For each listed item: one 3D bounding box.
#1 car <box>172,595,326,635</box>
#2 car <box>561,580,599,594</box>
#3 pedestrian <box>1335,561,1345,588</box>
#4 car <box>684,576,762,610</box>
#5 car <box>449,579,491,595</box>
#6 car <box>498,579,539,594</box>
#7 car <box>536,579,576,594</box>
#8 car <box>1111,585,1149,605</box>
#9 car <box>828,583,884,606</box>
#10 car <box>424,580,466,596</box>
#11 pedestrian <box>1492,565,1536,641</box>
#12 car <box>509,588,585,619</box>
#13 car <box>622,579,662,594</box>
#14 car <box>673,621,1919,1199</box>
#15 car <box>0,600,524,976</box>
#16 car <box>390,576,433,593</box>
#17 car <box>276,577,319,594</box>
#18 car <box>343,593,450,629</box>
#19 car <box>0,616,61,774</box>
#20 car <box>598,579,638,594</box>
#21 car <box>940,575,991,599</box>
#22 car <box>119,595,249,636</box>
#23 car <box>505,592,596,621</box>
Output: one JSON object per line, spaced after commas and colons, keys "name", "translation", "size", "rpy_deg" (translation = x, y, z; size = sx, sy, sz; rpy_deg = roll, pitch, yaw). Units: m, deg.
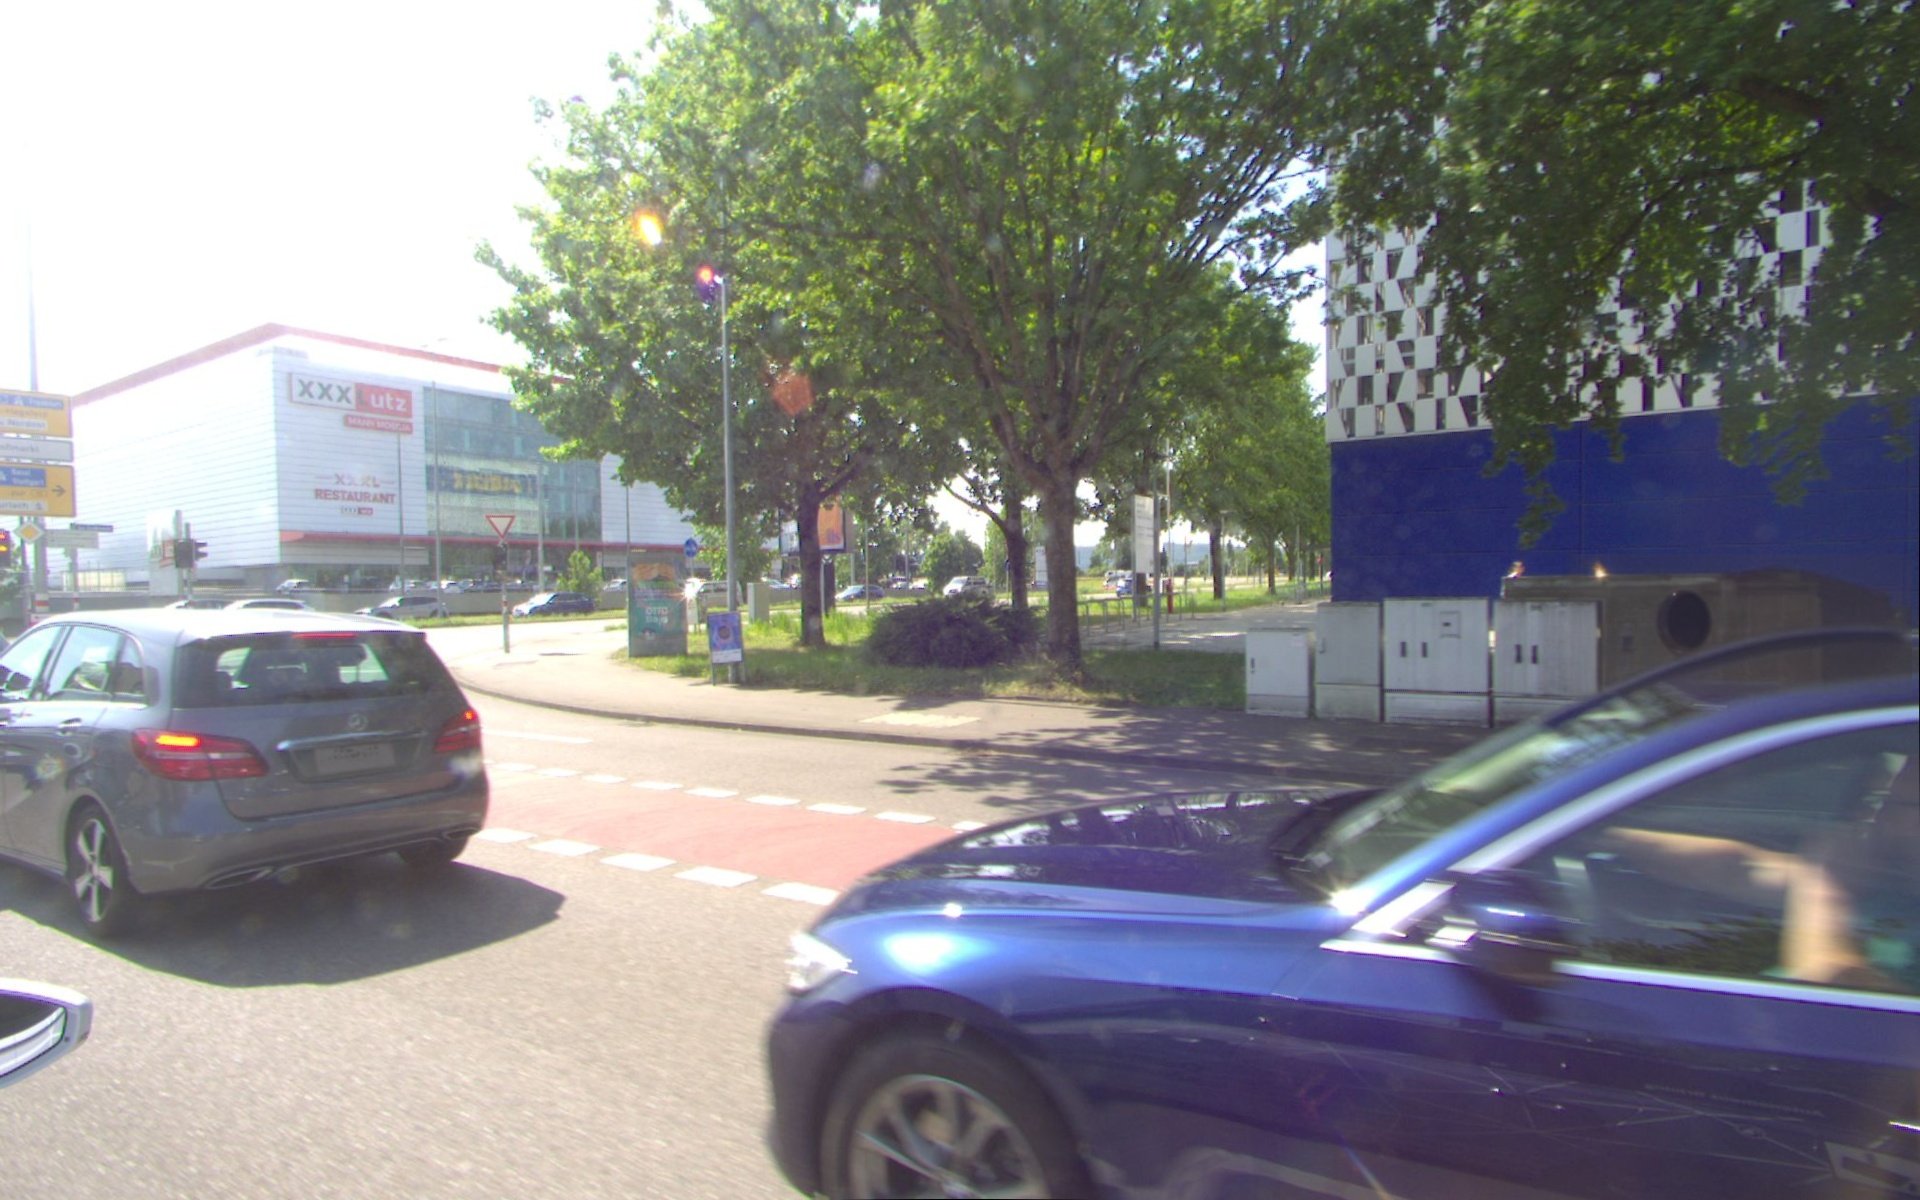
{"name": "car", "translation": [-28.694, 0.580, 40.551], "size": [1.933, 1.444, 4.701], "rpy_deg": [-2, 0, 35]}
{"name": "car", "translation": [-40.319, -1.400, 106.251], "size": [4.143, 1.439, 1.730], "rpy_deg": [0, 1, 35]}
{"name": "pedestrian", "translation": [28.888, -1.927, 76.052], "size": [0.670, 2.039, 0.600], "rpy_deg": [-1, -1, 18]}
{"name": "car", "translation": [-15.102, -0.488, 63.926], "size": [1.937, 2.002, 4.658], "rpy_deg": [-2, 0, 36]}
{"name": "car", "translation": [-47.317, -1.232, 96.671], "size": [4.143, 1.439, 1.866], "rpy_deg": [0, 1, 35]}
{"name": "car", "translation": [-44.335, -1.348, 100.586], "size": [4.143, 1.439, 1.894], "rpy_deg": [0, 1, 35]}
{"name": "car", "translation": [-42.143, -1.389, 104.422], "size": [4.143, 1.439, 1.799], "rpy_deg": [0, 1, 35]}
{"name": "car", "translation": [13.881, -0.432, 81.597], "size": [1.618, 1.556, 3.893], "rpy_deg": [0, 1, 34]}
{"name": "car", "translation": [-7.531, -0.420, 72.878], "size": [1.662, 1.642, 4.101], "rpy_deg": [0, 1, 37]}
{"name": "car", "translation": [-48.339, -1.130, 93.999], "size": [4.143, 1.439, 1.826], "rpy_deg": [0, 1, 35]}
{"name": "pedestrian", "translation": [11.637, 0.063, 21.029], "size": [0.769, 1.567, 0.677], "rpy_deg": [0, 2, 32]}
{"name": "car", "translation": [-22.215, 0.164, 53.922], "size": [1.578, 1.597, 3.457], "rpy_deg": [0, 1, 36]}
{"name": "car", "translation": [-32.067, -1.391, 100.921], "size": [3.955, 1.439, 1.734], "rpy_deg": [0, 1, 35]}
{"name": "car", "translation": [1.696, 0.781, 1.919], "size": [4.472, 1.448, 1.792], "rpy_deg": [0, 0, 32]}
{"name": "car", "translation": [-4.666, 0.785, 6.000], "size": [4.077, 1.559, 1.770], "rpy_deg": [0, 0, 32]}
{"name": "car", "translation": [-50.424, -1.431, 92.089], "size": [3.950, 1.439, 1.795], "rpy_deg": [0, 1, 32]}
{"name": "car", "translation": [-58.721, -1.245, 88.764], "size": [4.143, 1.439, 1.765], "rpy_deg": [0, 1, 35]}
{"name": "car", "translation": [-26.844, 0.502, 47.818], "size": [1.883, 1.529, 4.015], "rpy_deg": [-1, 1, 35]}
{"name": "car", "translation": [-10.495, 0.877, 9.716], "size": [3.628, 1.433, 1.664], "rpy_deg": [0, 0, 31]}
{"name": "car", "translation": [-33.814, -1.321, 99.065], "size": [4.054, 1.439, 1.679], "rpy_deg": [0, 1, 35]}
{"name": "car", "translation": [0.472, -1.125, 85.941], "size": [1.890, 1.961, 4.756], "rpy_deg": [-2, 0, 37]}
{"name": "car", "translation": [-31.845, 0.615, 41.199], "size": [1.785, 1.579, 3.871], "rpy_deg": [0, 1, 36]}
{"name": "car", "translation": [-20.839, 0.300, 51.120], "size": [1.701, 1.360, 4.032], "rpy_deg": [-1, 0, 35]}
